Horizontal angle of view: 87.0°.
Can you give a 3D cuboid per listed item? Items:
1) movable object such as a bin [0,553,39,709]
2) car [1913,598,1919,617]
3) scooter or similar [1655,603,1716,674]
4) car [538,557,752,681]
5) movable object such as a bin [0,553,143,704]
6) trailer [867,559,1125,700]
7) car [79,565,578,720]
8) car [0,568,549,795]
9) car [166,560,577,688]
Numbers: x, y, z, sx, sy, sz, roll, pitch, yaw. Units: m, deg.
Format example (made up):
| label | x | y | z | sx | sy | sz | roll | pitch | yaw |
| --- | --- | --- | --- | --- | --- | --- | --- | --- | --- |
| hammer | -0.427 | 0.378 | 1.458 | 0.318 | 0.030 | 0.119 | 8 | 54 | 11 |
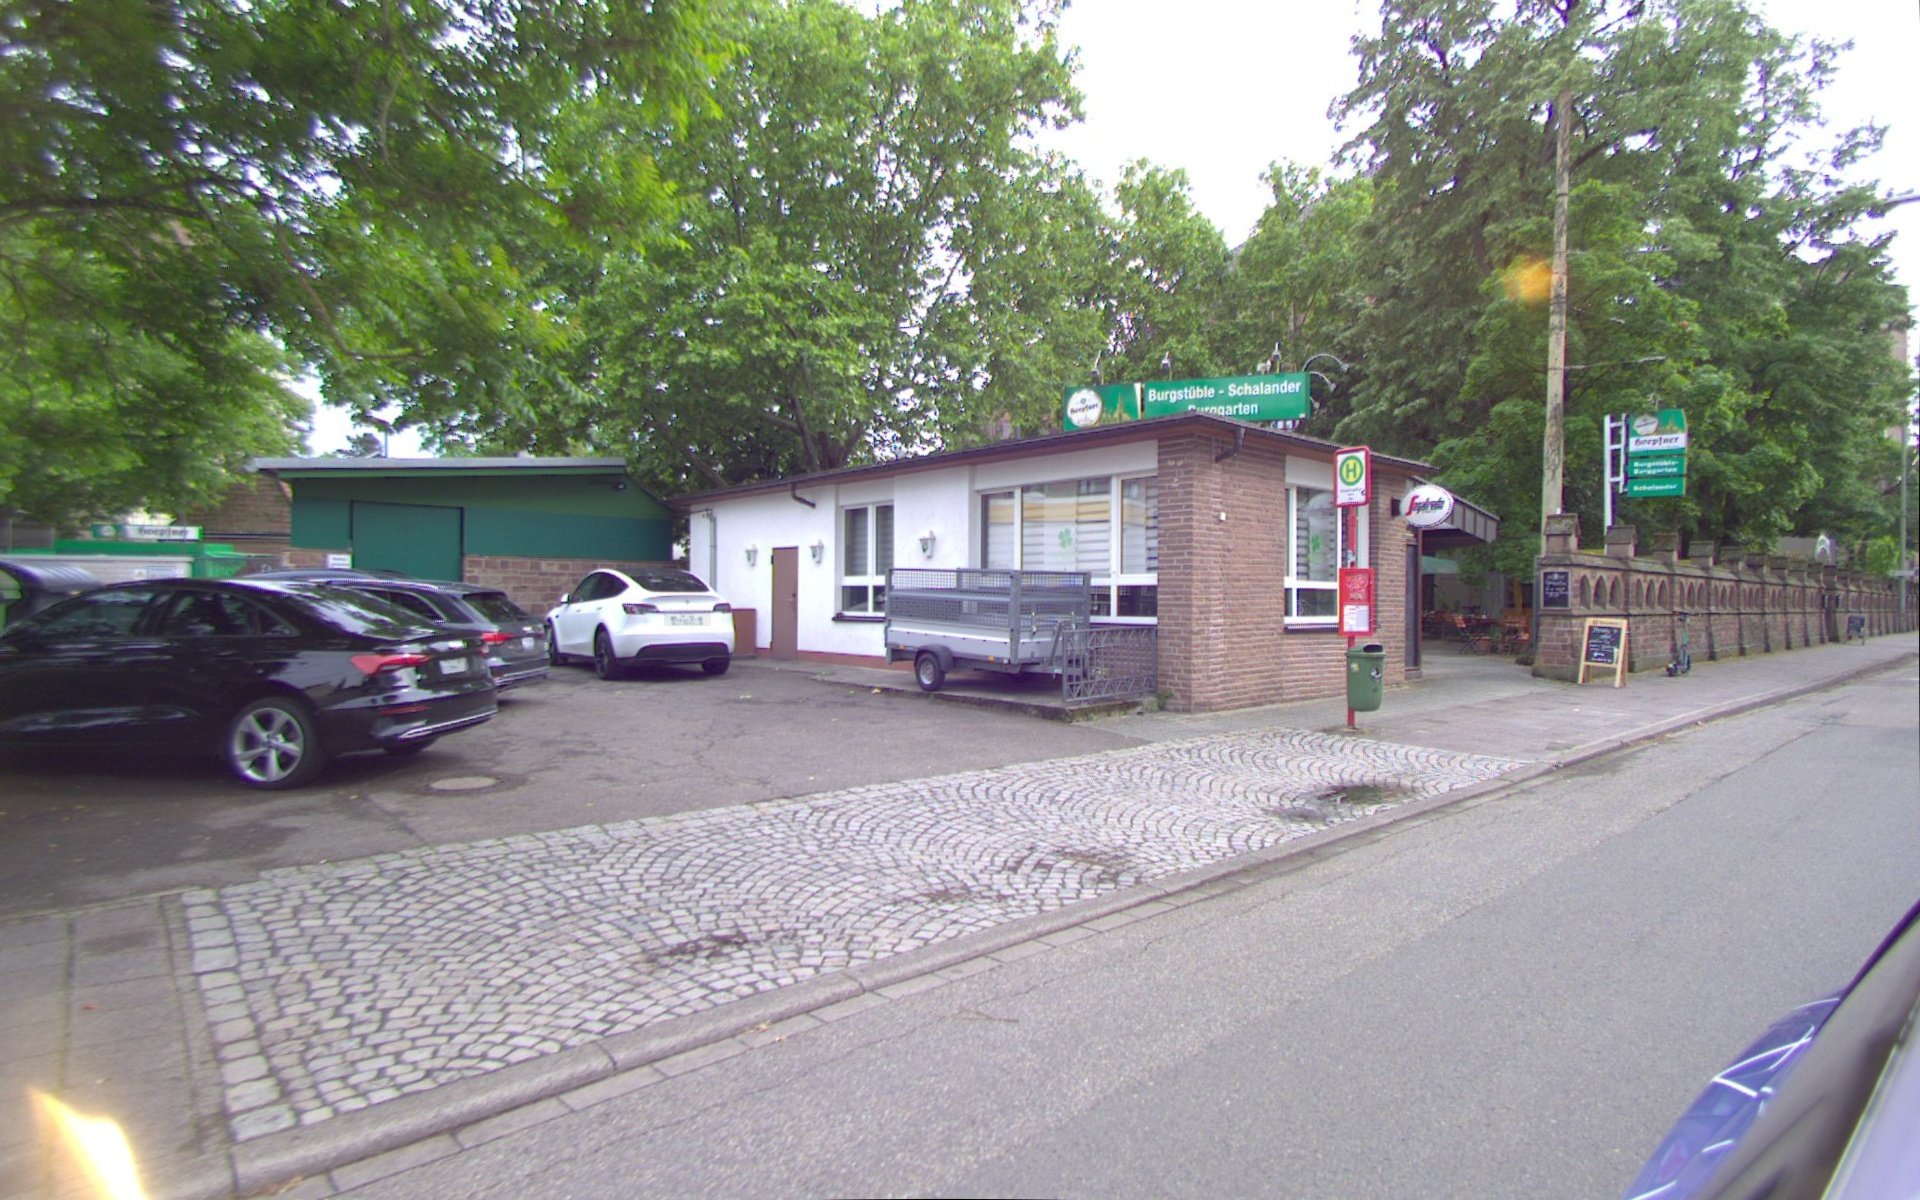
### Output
| label | x | y | z | sx | sy | sz | roll | pitch | yaw |
| --- | --- | --- | --- | --- | --- | --- | --- | --- | --- |
| movable object such as a bin | -9.950 | 0.267 | 9.550 | 1.103 | 1.533 | 1.422 | 4 | -1 | 0 |
| car | 86.450 | 0.759 | 88.582 | 1.960 | 1.637 | 4.007 | 1 | 3 | -30 |
| scooter or similar | 13.816 | 0.713 | 19.258 | 1.385 | 1.254 | 0.578 | 0 | 3 | -41 |
| car | -5.125 | 0.243 | 16.051 | 1.953 | 1.667 | 4.437 | 0 | 0 | -36 |
| movable object such as a bin | -9.932 | 0.289 | 10.922 | 1.102 | 1.510 | 1.294 | 2 | -2 | -1 |
| trailer | 0.374 | 0.309 | 12.892 | 1.592 | 1.558 | 3.168 | 0 | 1 | -40 |
| car | -6.867 | 0.402 | 11.350 | 4.457 | 1.445 | 1.878 | 2 | 3 | 1 |
| car | -5.802 | 0.510 | 7.778 | 4.500 | 1.425 | 1.934 | 1 | 0 | 3 |
| car | -7.806 | 0.300 | 13.803 | 4.403 | 1.477 | 1.987 | 2 | 0 | -2 |
